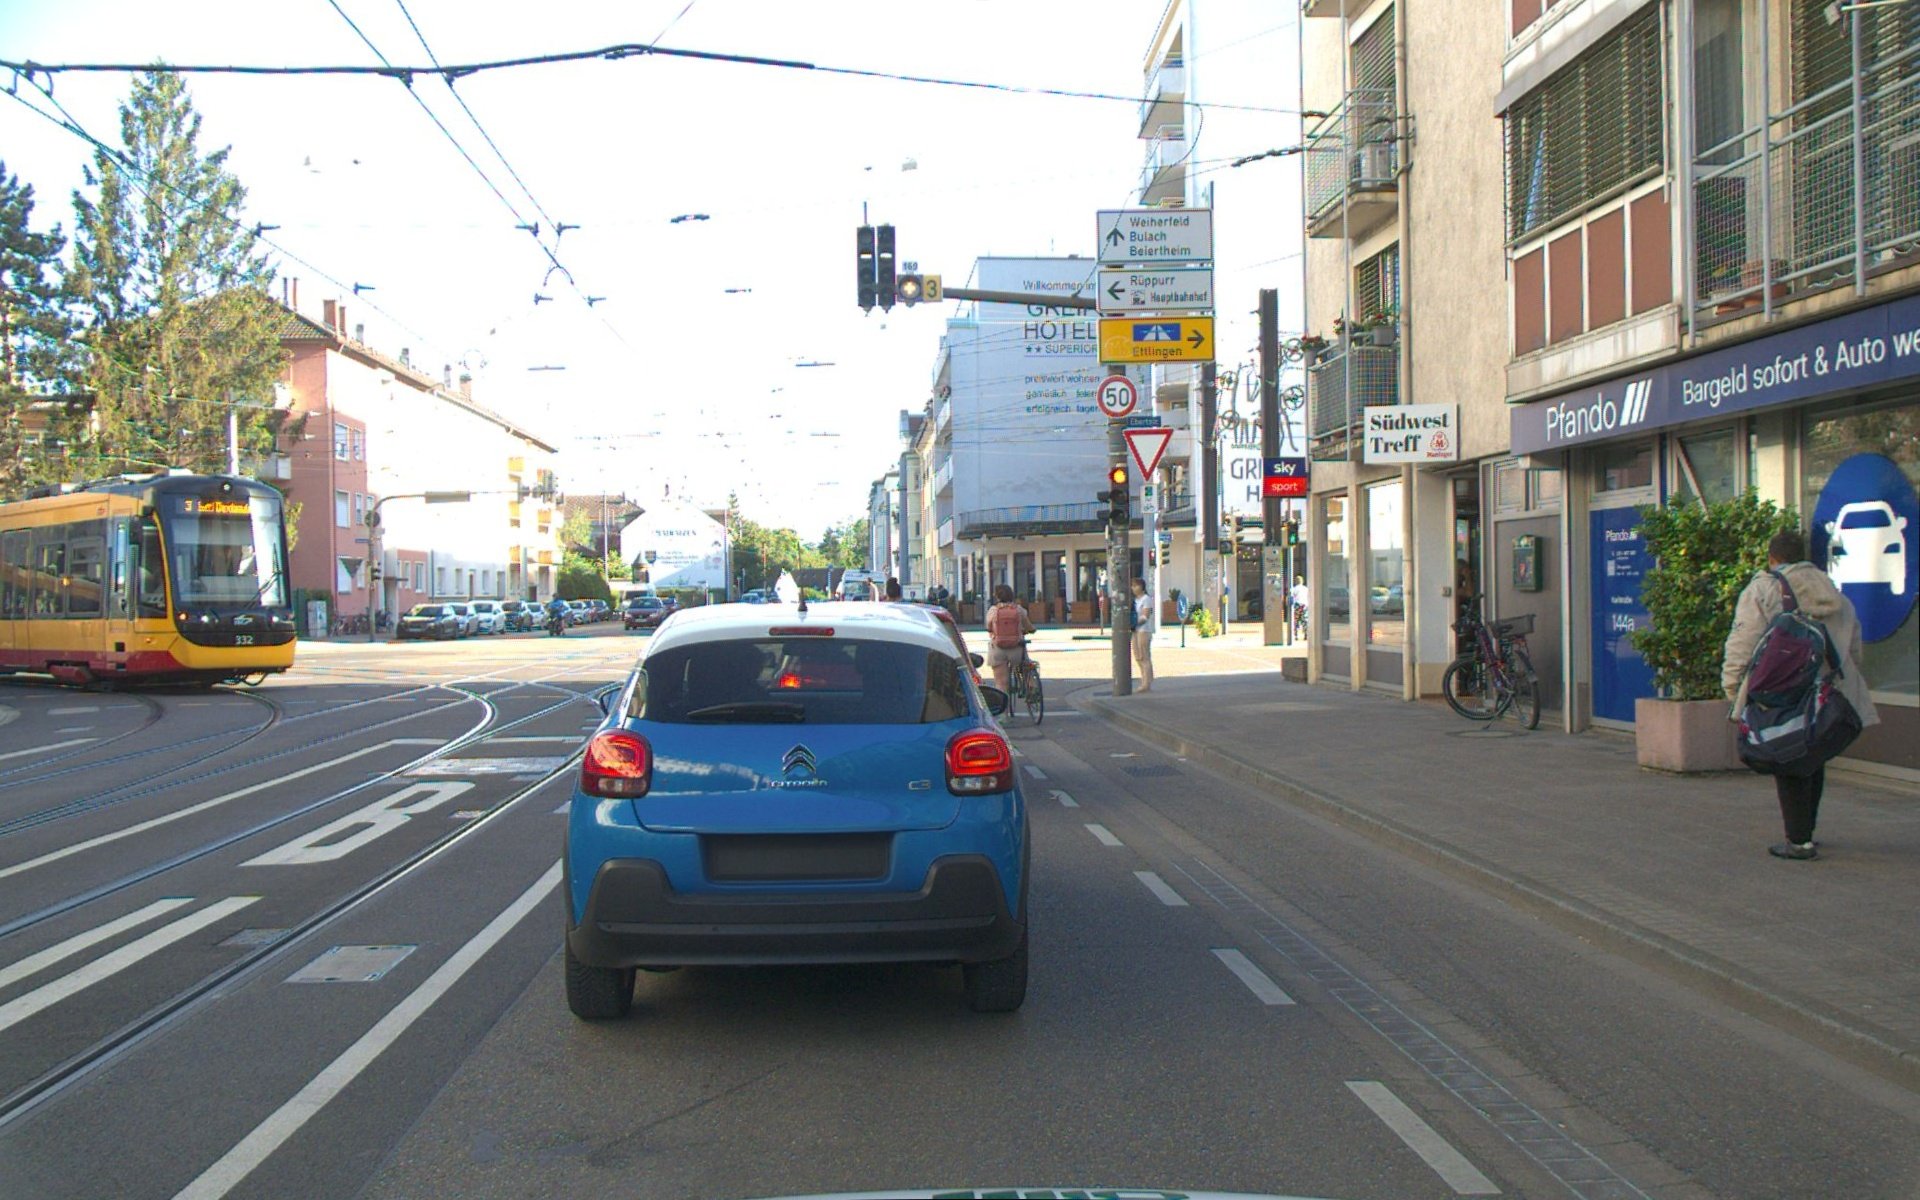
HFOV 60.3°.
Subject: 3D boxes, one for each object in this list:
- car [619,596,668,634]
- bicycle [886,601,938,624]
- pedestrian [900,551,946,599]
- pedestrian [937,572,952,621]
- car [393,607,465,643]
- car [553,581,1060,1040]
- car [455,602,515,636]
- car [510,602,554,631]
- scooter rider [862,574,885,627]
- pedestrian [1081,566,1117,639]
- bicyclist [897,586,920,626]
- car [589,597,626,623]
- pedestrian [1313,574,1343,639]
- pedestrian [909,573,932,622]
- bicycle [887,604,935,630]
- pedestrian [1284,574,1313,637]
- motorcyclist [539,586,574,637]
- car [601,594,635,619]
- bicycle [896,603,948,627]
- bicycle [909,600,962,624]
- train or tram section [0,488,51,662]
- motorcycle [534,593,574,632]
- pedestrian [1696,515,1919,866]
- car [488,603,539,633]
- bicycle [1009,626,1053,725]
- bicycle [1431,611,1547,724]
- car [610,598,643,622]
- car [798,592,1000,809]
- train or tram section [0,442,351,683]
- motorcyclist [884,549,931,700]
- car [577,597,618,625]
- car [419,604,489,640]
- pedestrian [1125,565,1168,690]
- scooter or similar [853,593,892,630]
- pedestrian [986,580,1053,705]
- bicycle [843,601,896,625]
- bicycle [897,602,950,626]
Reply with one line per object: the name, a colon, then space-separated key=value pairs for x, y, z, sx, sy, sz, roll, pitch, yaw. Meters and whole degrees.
car: x=-14.546 y=0.688 z=76.178 sx=1.740 sy=1.695 sz=3.853 roll=1 pitch=0 yaw=-4
bicycle: x=-1.974 y=0.502 z=68.303 sx=2.093 sy=0.917 sz=0.366 roll=1 pitch=-1 yaw=-10
pedestrian: x=-1.610 y=-1.084 z=73.521 sx=1.953 sy=2.049 sz=3.999 roll=1 pitch=0 yaw=-1
pedestrian: x=-0.670 y=-0.162 z=69.988 sx=0.565 sy=2.049 sz=0.625 roll=1 pitch=-1 yaw=-3
car: x=-21.927 y=1.012 z=68.462 sx=1.757 sy=1.446 sz=3.994 roll=1 pitch=0 yaw=-2
car: x=-0.519 y=0.693 z=7.136 sx=1.620 sy=1.469 sz=3.522 roll=1 pitch=0 yaw=-1
car: x=-22.672 y=0.883 z=79.033 sx=1.751 sy=1.537 sz=4.148 roll=1 pitch=0 yaw=-2
car: x=-23.758 y=0.918 z=91.868 sx=1.699 sy=1.524 sz=3.996 roll=1 pitch=0 yaw=-5
scooter rider: x=-3.096 y=0.030 z=58.932 sx=0.707 sy=1.864 sz=0.718 roll=-1 pitch=0 yaw=3
pedestrian: x=3.940 y=0.069 z=46.960 sx=0.907 sy=2.049 sz=0.759 roll=1 pitch=-1 yaw=-1
bicyclist: x=-1.976 y=0.224 z=63.157 sx=0.730 sy=1.503 sz=0.563 roll=1 pitch=-1 yaw=17
car: x=-23.584 y=0.679 z=110.902 sx=1.845 sy=1.716 sz=3.997 roll=1 pitch=0 yaw=-4
pedestrian: x=9.730 y=0.182 z=43.781 sx=0.736 sy=1.686 sz=0.884 roll=1 pitch=-1 yaw=12
pedestrian: x=-1.651 y=-0.098 z=69.118 sx=0.625 sy=2.049 sz=0.715 roll=1 pitch=-1 yaw=-37
bicycle: x=-1.882 y=0.646 z=63.108 sx=1.814 sy=0.919 sz=0.350 roll=1 pitch=-1 yaw=19
pedestrian: x=8.867 y=0.145 z=43.312 sx=0.720 sy=1.629 sz=0.749 roll=1 pitch=-1 yaw=12
motorcyclist: x=-16.345 y=0.456 z=67.022 sx=1.162 sy=2.049 sz=1.274 roll=-1 pitch=0 yaw=-4
car: x=-24.026 y=0.470 z=116.327 sx=1.797 sy=1.716 sz=3.997 roll=1 pitch=0 yaw=-4
bicycle: x=-1.555 y=0.612 z=67.524 sx=2.093 sy=0.917 sz=0.366 roll=1 pitch=-1 yaw=-10
bicycle: x=-0.971 y=0.484 z=65.931 sx=2.093 sy=0.917 sz=0.366 roll=1 pitch=-1 yaw=-10
train or tram section: x=-24.631 y=-0.607 z=36.650 sx=8.869 sy=3.694 sz=2.834 roll=1 pitch=0 yaw=22
motorcycle: x=-16.365 y=0.502 z=66.746 sx=0.905 sy=1.512 sz=3.723 roll=1 pitch=0 yaw=-4
pedestrian: x=4.168 y=0.425 z=8.063 sx=0.808 sy=1.620 sz=0.751 roll=1 pitch=-1 yaw=-1
car: x=-23.116 y=0.911 z=85.715 sx=1.750 sy=1.524 sz=3.997 roll=1 pitch=0 yaw=-4
bicycle: x=0.874 y=0.908 z=20.582 sx=0.419 sy=1.142 sz=1.998 roll=1 pitch=0 yaw=-1
bicycle: x=5.037 y=0.618 z=15.848 sx=0.531 sy=1.016 sz=1.705 roll=1 pitch=0 yaw=-1
car: x=-24.347 y=0.706 z=120.748 sx=1.809 sy=1.716 sz=3.871 roll=1 pitch=0 yaw=-4
car: x=-0.450 y=0.714 z=13.090 sx=1.395 sy=1.493 sz=2.923 roll=-1 pitch=0 yaw=-1
train or tram section: x=-15.751 y=-0.556 z=30.416 sx=12.404 sy=3.656 sz=3.054 roll=-1 pitch=1 yaw=42
motorcyclist: x=-0.619 y=0.291 z=19.603 sx=0.516 sy=1.746 sz=0.717 roll=1 pitch=-1 yaw=-1
car: x=-23.228 y=0.700 z=105.976 sx=1.944 sy=1.716 sz=3.997 roll=1 pitch=0 yaw=-4
car: x=-22.359 y=0.954 z=73.224 sx=1.778 sy=1.524 sz=4.299 roll=1 pitch=0 yaw=-1
pedestrian: x=2.748 y=0.396 z=24.386 sx=0.507 sy=1.814 sz=0.595 roll=1 pitch=-1 yaw=-3
scooter or similar: x=-3.122 y=0.392 z=58.930 sx=1.321 sy=1.291 sz=0.444 roll=1 pitch=1 yaw=4
pedestrian: x=0.718 y=0.516 z=20.208 sx=0.761 sy=1.486 sz=0.681 roll=1 pitch=-1 yaw=-1
bicycle: x=-3.609 y=0.527 z=66.155 sx=2.093 sy=0.917 sz=0.366 roll=1 pitch=-1 yaw=-10
bicycle: x=-1.479 y=0.567 z=67.123 sx=2.093 sy=0.917 sz=0.366 roll=1 pitch=-1 yaw=-10
